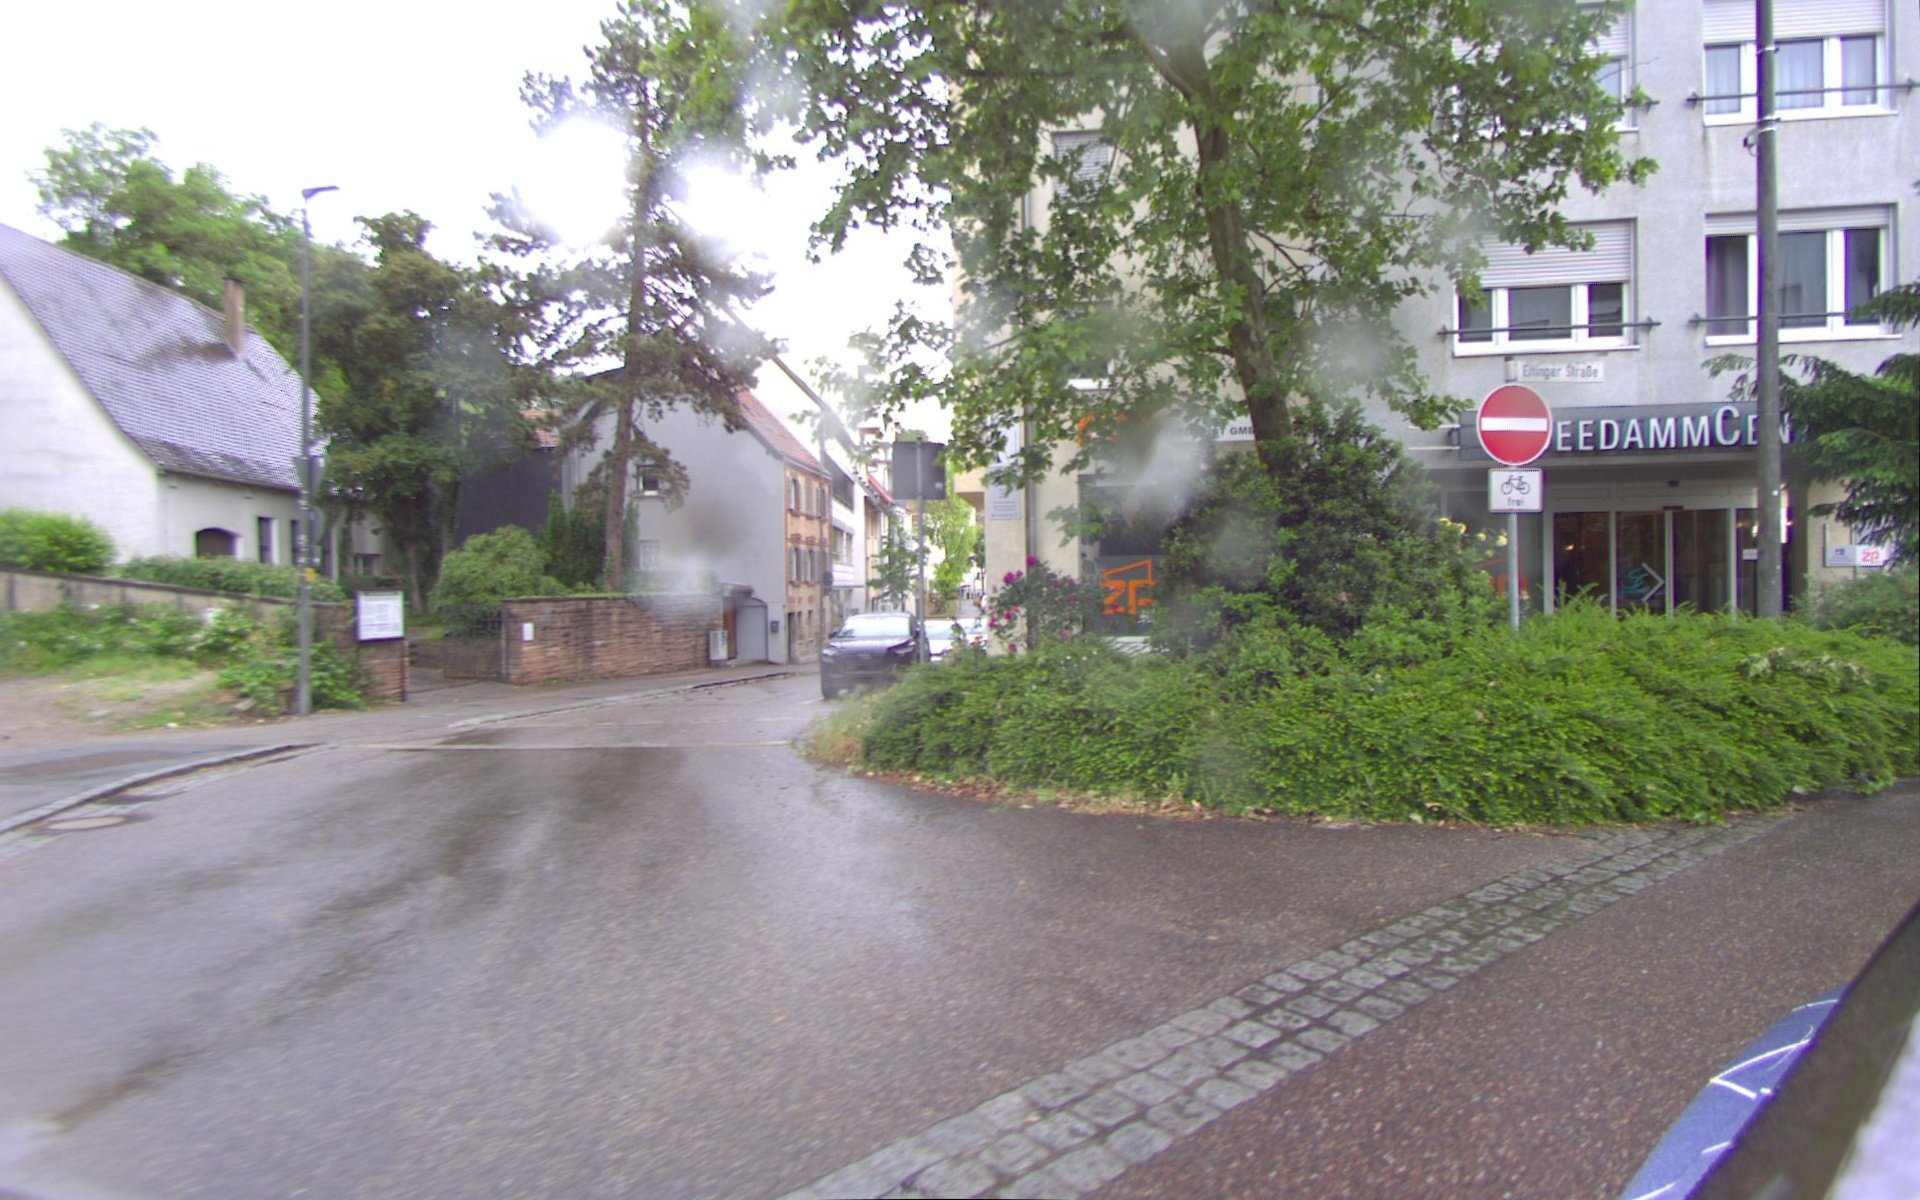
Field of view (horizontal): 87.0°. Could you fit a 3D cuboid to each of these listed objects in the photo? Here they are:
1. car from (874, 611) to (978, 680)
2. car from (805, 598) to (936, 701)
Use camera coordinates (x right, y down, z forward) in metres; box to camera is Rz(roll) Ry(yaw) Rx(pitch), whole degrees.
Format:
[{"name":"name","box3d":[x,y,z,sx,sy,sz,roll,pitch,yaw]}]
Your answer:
[{"name":"car","box3d":[-0.778,1.091,25.745,1.967,1.594,3.989,0,-1,8]},{"name":"car","box3d":[-1.639,0.935,19.886,1.964,1.672,3.996,-4,-2,2]}]
